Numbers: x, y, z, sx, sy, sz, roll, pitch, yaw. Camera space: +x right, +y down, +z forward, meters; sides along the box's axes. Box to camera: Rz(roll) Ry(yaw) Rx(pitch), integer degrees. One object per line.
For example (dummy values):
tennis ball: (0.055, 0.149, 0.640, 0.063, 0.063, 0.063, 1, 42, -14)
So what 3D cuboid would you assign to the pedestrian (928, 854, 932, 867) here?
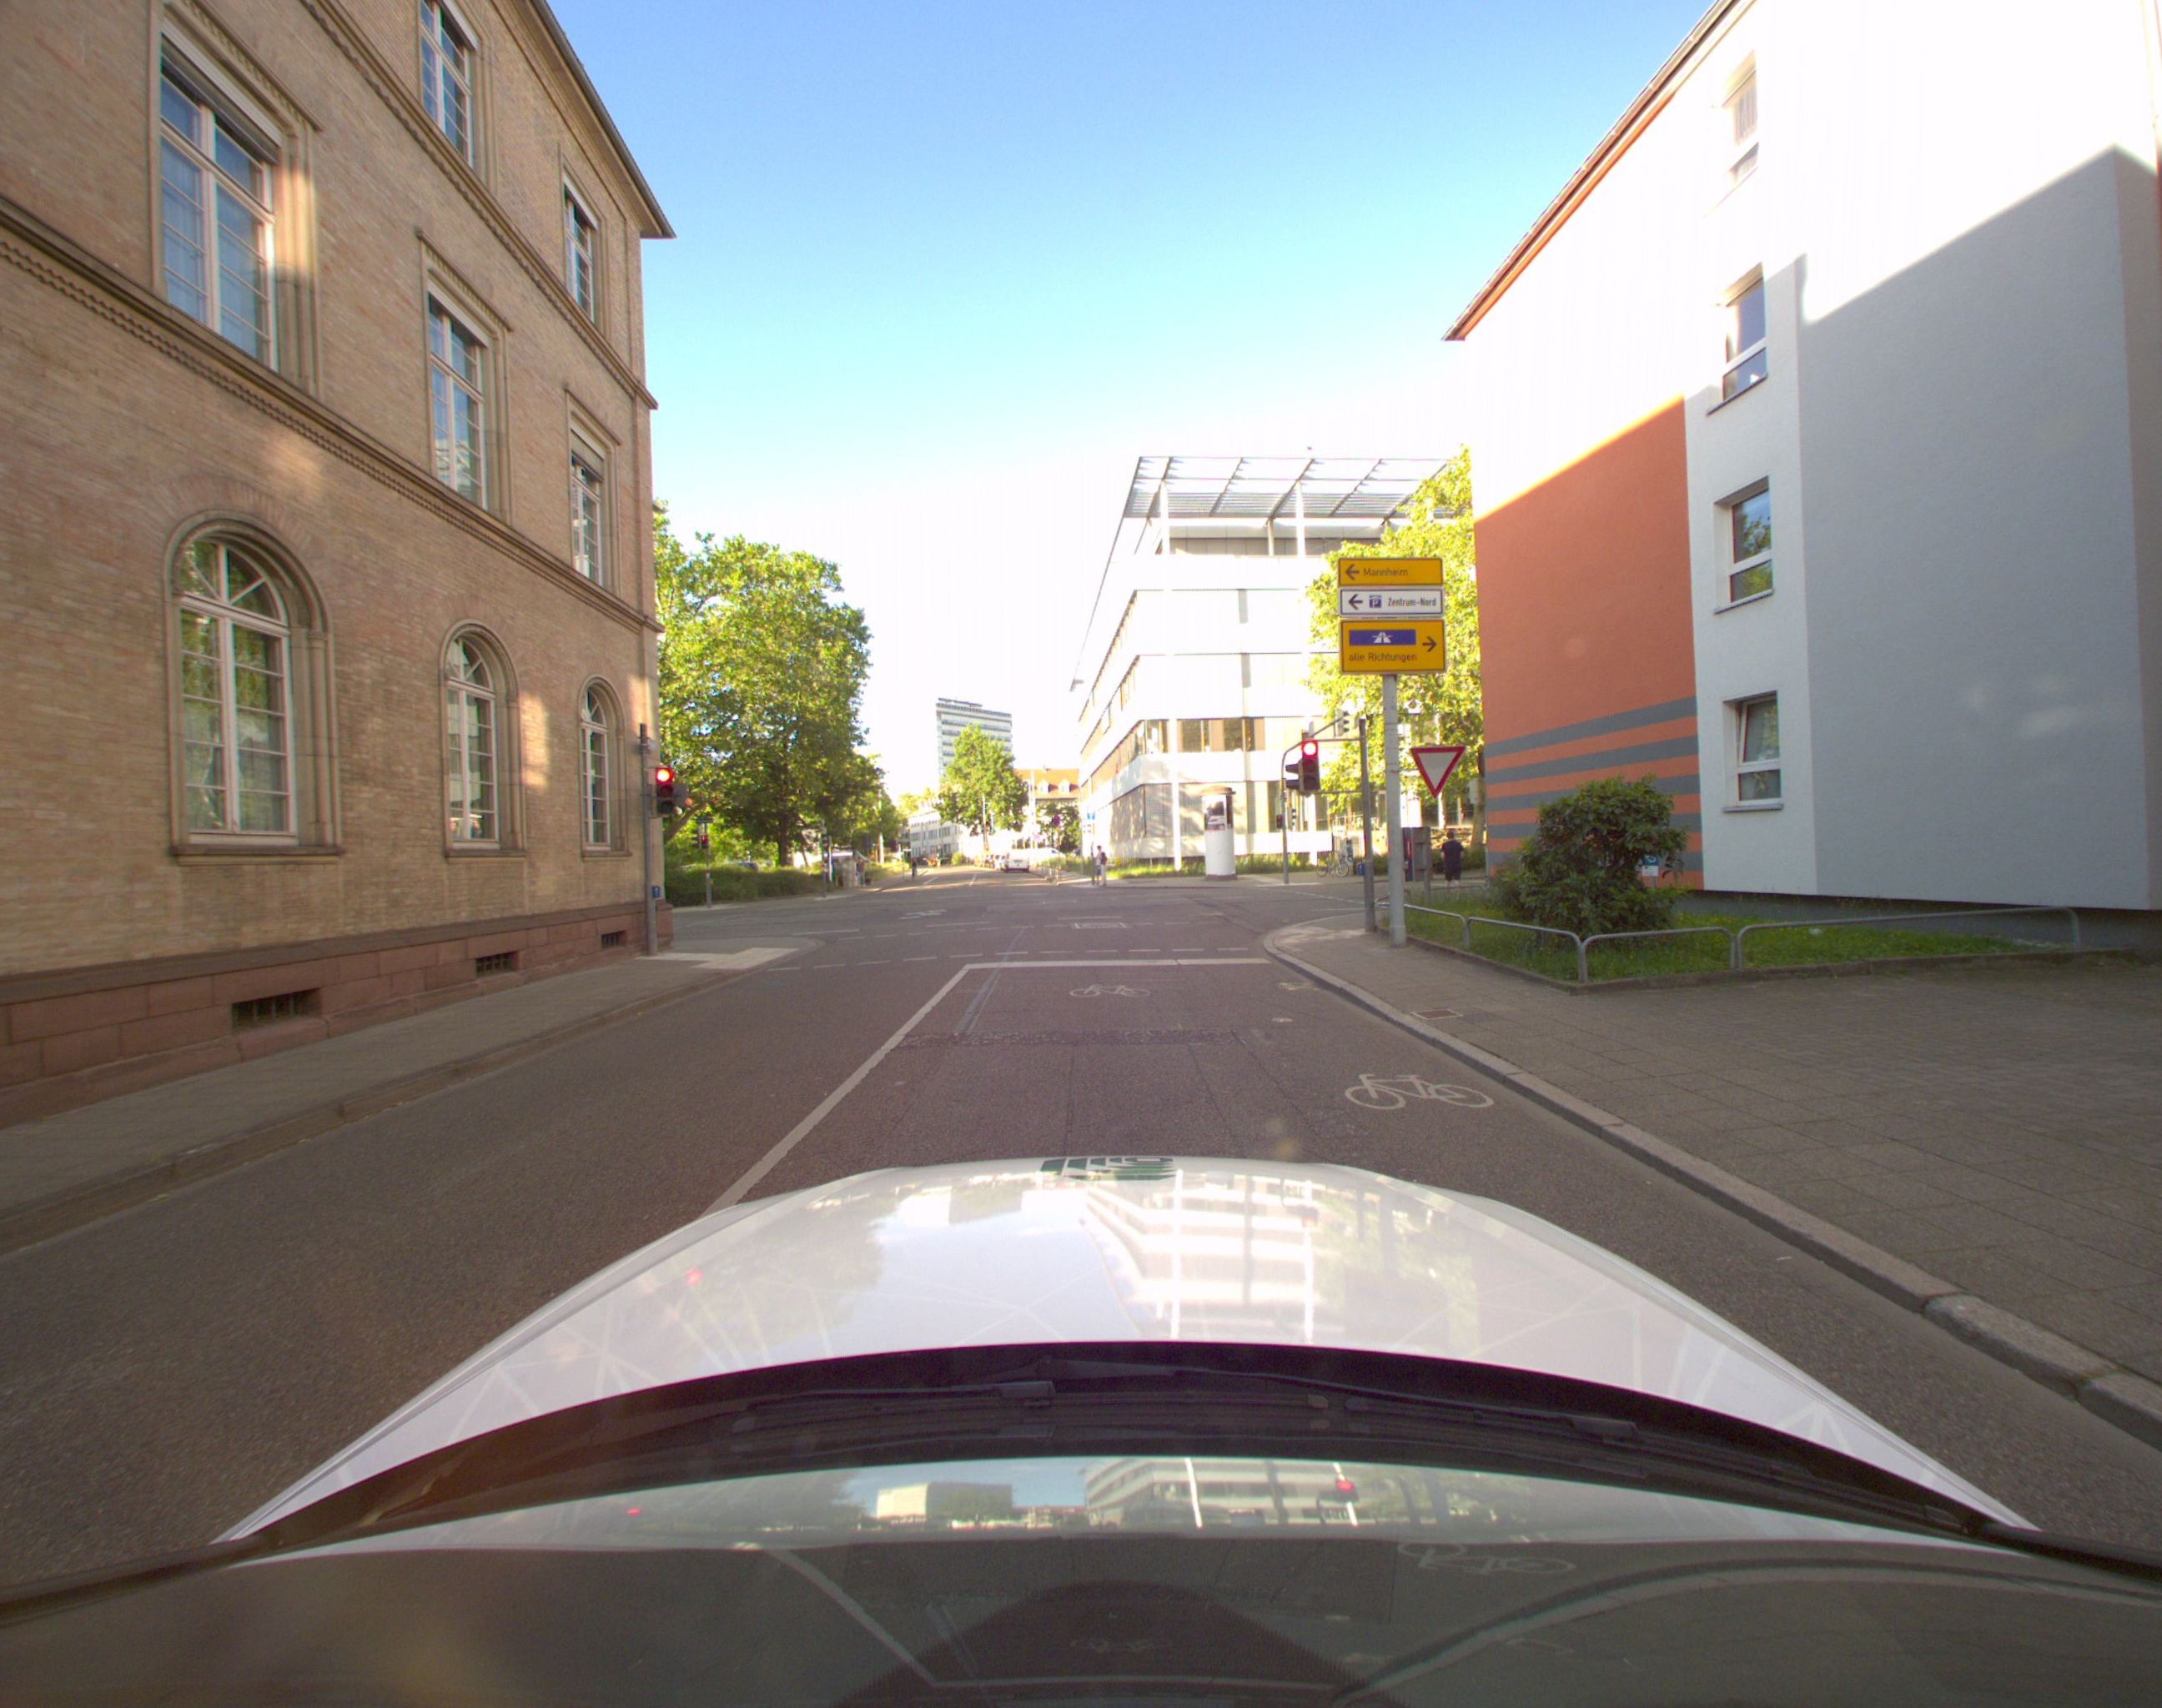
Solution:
pedestrian: (-19.652, 0.878, 105.964, 0.435, 1.607, 0.489, -2, 0, -24)

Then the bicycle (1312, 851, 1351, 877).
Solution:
bicycle: (11.027, 0.421, 35.908, 0.510, 1.049, 1.670, -4, 3, -33)

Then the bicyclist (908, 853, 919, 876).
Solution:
bicyclist: (-11.595, 0.727, 56.283, 0.615, 1.532, 0.901, -3, 0, -7)

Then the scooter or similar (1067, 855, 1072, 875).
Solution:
scooter or similar: (-0.831, 0.760, 58.742, 0.329, 1.424, 1.333, 0, -1, -4)

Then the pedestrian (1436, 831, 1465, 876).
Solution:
pedestrian: (15.498, -0.029, 34.154, 0.834, 1.840, 0.707, -1, 0, -8)

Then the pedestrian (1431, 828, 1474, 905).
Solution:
pedestrian: (9.146, 0.298, 20.072, 0.704, 1.840, 0.837, 0, 0, 1)

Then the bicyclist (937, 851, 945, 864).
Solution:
bicyclist: (-16.631, 0.402, 96.731, 0.865, 1.515, 1.016, -5, 0, -8)

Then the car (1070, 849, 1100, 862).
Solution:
car: (0.500, 0.167, 104.426, 3.563, 1.546, 1.549, -2, 0, -17)

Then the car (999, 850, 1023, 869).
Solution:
car: (-6.339, 0.505, 73.265, 1.887, 1.555, 4.403, -2, 1, -8)

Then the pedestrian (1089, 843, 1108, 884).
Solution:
pedestrian: (0.829, 0.452, 37.927, 0.555, 1.850, 0.680, -5, 1, 18)

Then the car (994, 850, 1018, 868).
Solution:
car: (-7.273, 0.479, 78.663, 1.889, 1.555, 4.398, -2, 1, -11)

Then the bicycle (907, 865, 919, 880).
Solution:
bicycle: (-11.572, 1.260, 56.269, 0.615, 0.969, 1.837, -3, 0, -7)

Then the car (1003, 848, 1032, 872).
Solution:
car: (-5.103, 0.451, 64.994, 2.084, 1.795, 4.403, -2, 1, -8)

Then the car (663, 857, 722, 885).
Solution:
car: (-37.173, 1.633, 78.112, 4.551, 2.391, 2.069, -3, 0, -7)

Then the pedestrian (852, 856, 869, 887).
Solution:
pedestrian: (-12.429, 0.985, 45.961, 0.702, 1.723, 0.952, -3, 0, -8)

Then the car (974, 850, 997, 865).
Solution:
car: (-11.281, 0.426, 95.958, 1.893, 1.655, 4.390, -2, 1, -16)

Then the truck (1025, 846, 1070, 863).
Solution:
truck: (-4.251, 0.067, 103.355, 5.351, 2.013, 1.988, -2, 0, -17)

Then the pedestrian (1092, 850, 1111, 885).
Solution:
pedestrian: (0.922, 0.610, 37.318, 0.561, 1.540, 0.673, -5, 1, -16)

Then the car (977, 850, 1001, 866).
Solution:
car: (-10.359, 0.476, 91.141, 1.893, 1.655, 4.390, -2, 1, -16)

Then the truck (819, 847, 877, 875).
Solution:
truck: (-21.614, 0.595, 75.822, 4.825, 2.399, 2.082, -2, 0, -8)

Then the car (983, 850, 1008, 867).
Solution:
car: (-9.031, 0.435, 85.960, 1.893, 1.655, 4.390, -2, 1, -16)

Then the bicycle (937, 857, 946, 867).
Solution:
bicycle: (-16.592, 0.959, 96.714, 0.865, 1.009, 2.407, -5, 0, -8)
